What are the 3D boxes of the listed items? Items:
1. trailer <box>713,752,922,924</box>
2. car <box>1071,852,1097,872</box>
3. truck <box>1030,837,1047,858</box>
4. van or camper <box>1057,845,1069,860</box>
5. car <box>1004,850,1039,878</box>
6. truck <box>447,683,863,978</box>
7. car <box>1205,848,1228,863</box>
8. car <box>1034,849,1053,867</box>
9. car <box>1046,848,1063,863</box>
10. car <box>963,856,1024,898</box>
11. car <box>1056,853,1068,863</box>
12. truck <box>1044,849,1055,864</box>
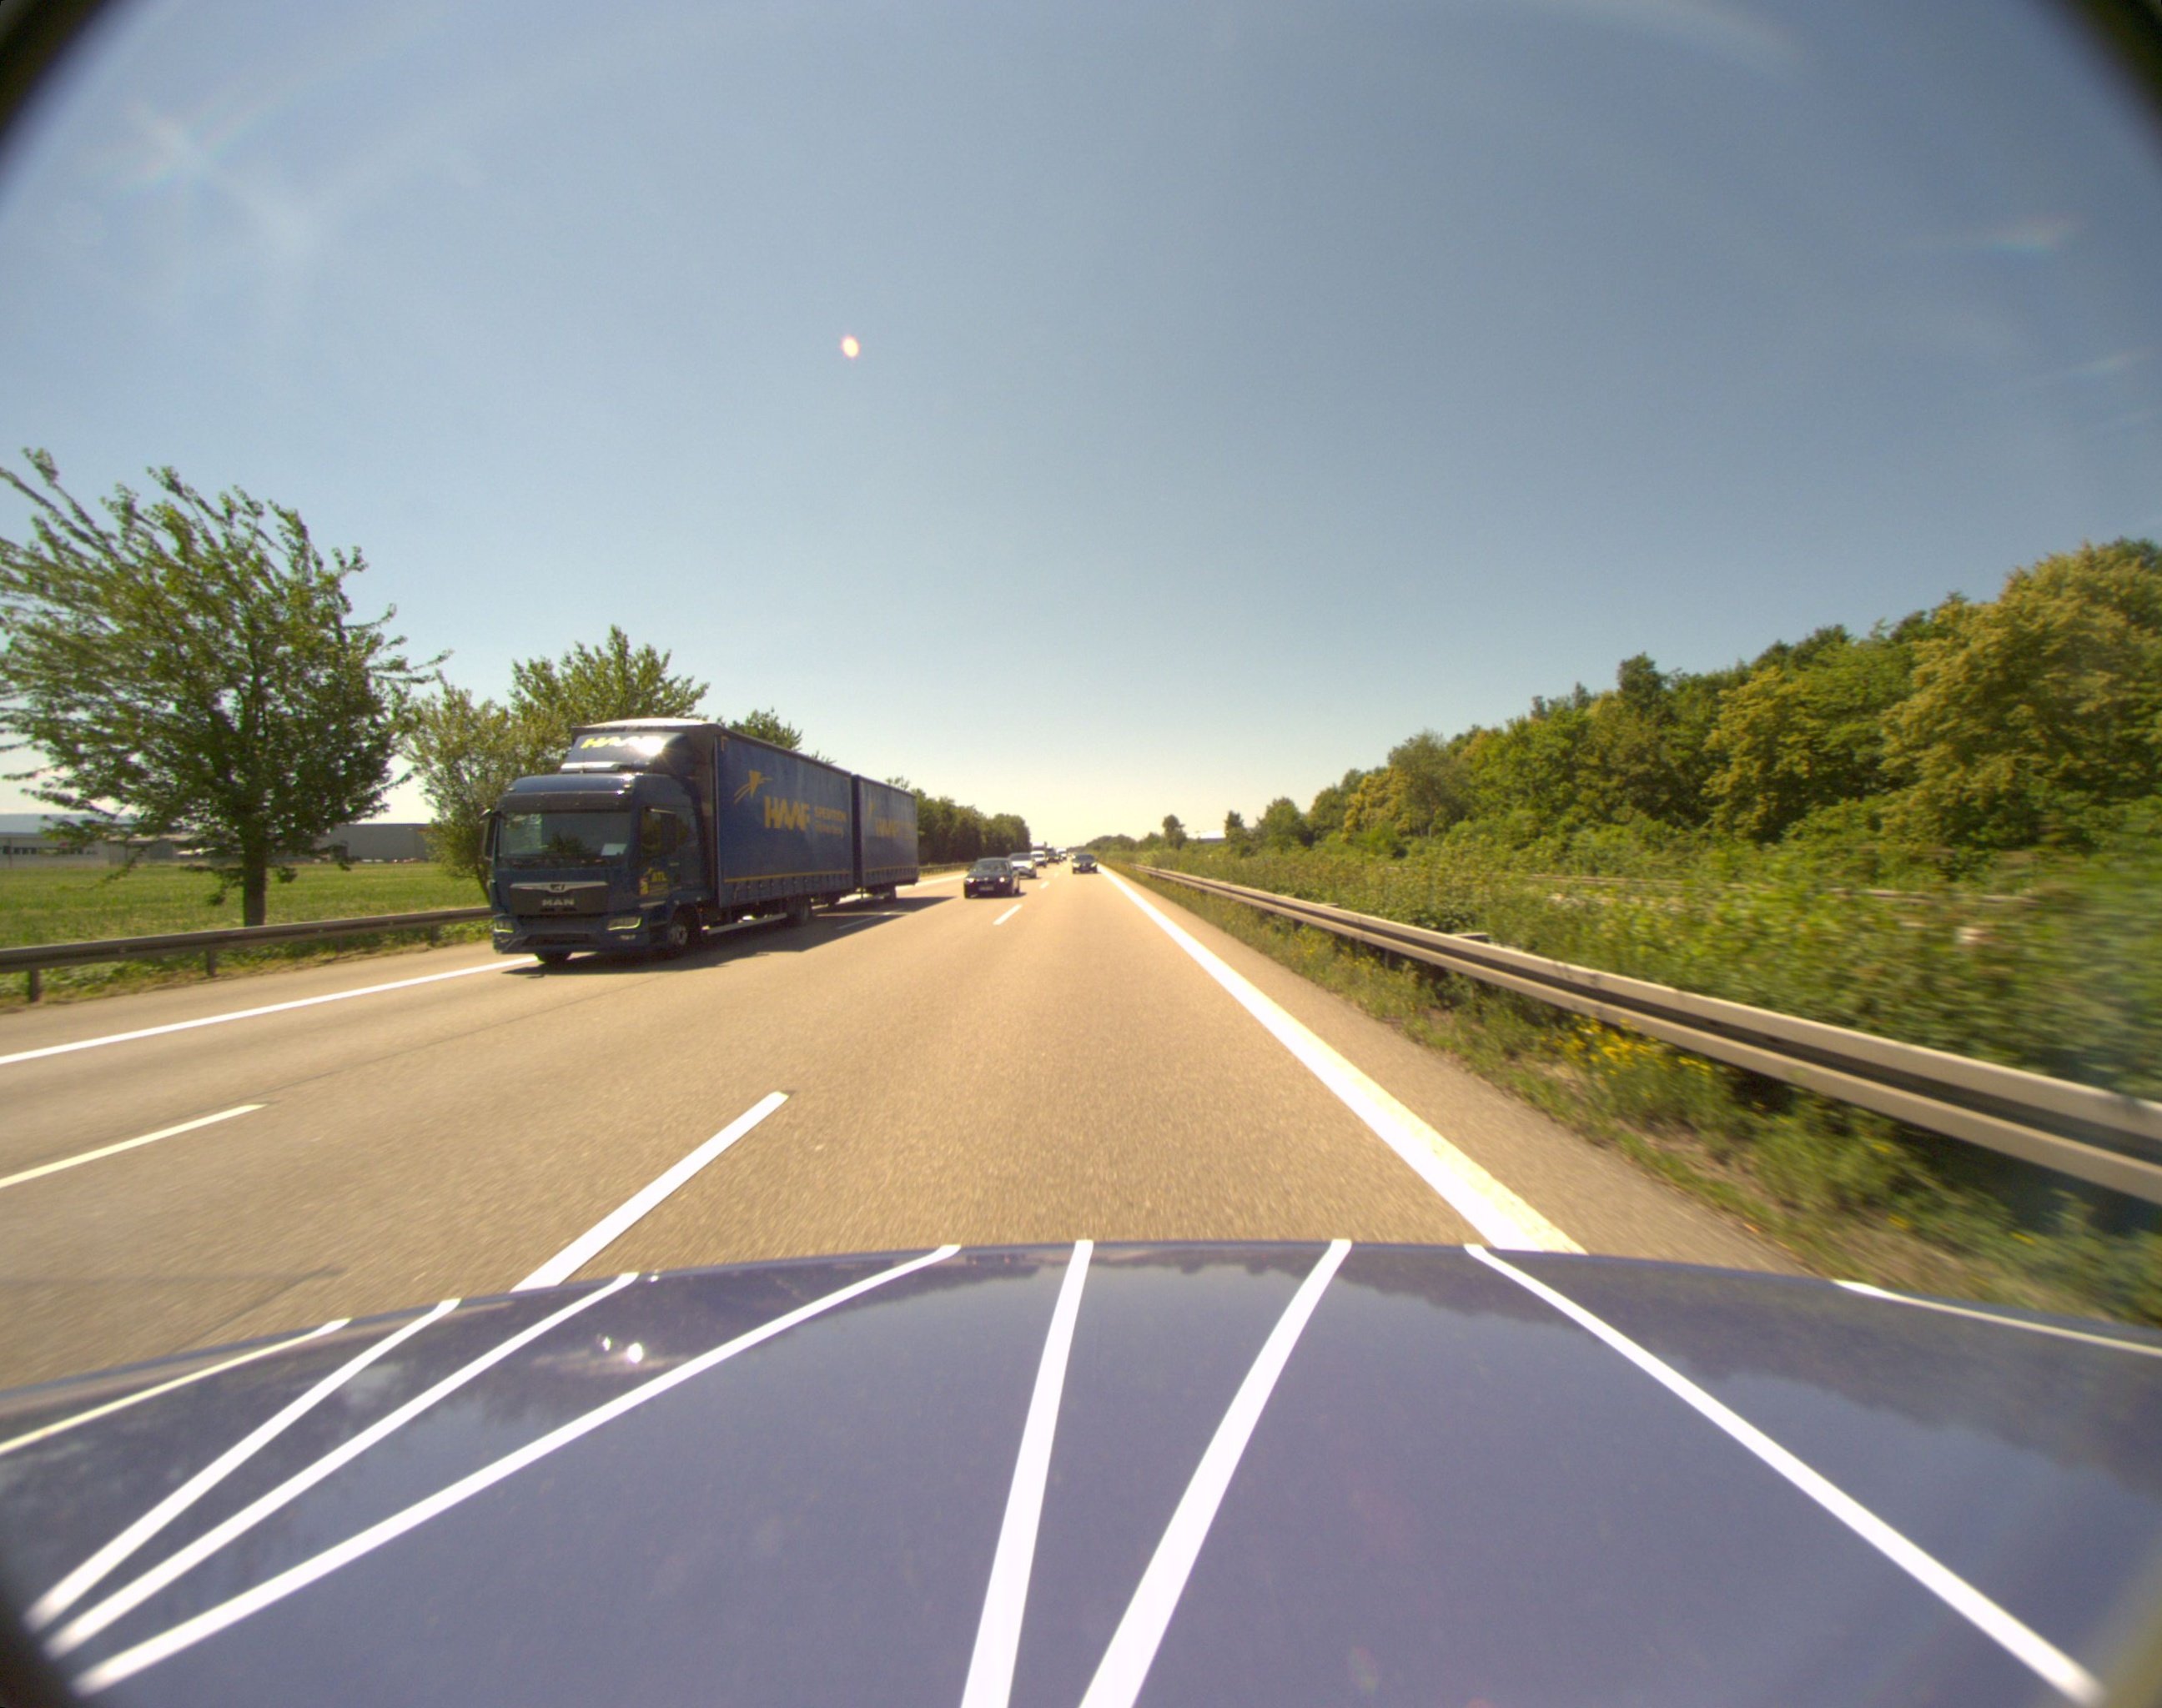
[{"bbox_3d":[-7.594,-0.433,24.063,2.797,4.180,10.805,-1,0,0],"label":"trailer"},{"bbox_3d":[0.211,0.562,56.742,1.887,1.341,4.467,-1,0,0],"label":"car"},{"bbox_3d":[-8.804,-1.329,157.554,2.797,4.180,10.805,-1,0,0],"label":"truck"},{"bbox_3d":[-3.678,-0.354,152.711,2.198,2.796,6.999,-1,0,0],"label":"van or camper"},{"bbox_3d":[-3.744,0.588,48.056,1.887,1.634,3.999,-1,0,0],"label":"car"},{"bbox_3d":[-7.644,-0.374,16.295,2.797,4.180,10.805,-1,0,0],"label":"truck"},{"bbox_3d":[13.636,0.121,76.696,1.612,1.508,4.000,-1,1,1],"label":"car"},{"bbox_3d":[-4.036,0.387,82.980,1.887,1.861,4.467,-1,0,0],"label":"car"},{"bbox_3d":[-3.615,0.141,104.456,1.998,2.002,4.000,-1,1,1],"label":"car"},{"bbox_3d":[-3.270,0.823,29.172,1.841,1.409,4.497,-1,0,0],"label":"car"},{"bbox_3d":[-3.136,0.580,124.784,1.887,1.557,4.466,-1,0,-3],"label":"car"},{"bbox_3d":[-9.248,0.571,222.871,2.797,4.180,10.805,-1,0,0],"label":"truck"}]
